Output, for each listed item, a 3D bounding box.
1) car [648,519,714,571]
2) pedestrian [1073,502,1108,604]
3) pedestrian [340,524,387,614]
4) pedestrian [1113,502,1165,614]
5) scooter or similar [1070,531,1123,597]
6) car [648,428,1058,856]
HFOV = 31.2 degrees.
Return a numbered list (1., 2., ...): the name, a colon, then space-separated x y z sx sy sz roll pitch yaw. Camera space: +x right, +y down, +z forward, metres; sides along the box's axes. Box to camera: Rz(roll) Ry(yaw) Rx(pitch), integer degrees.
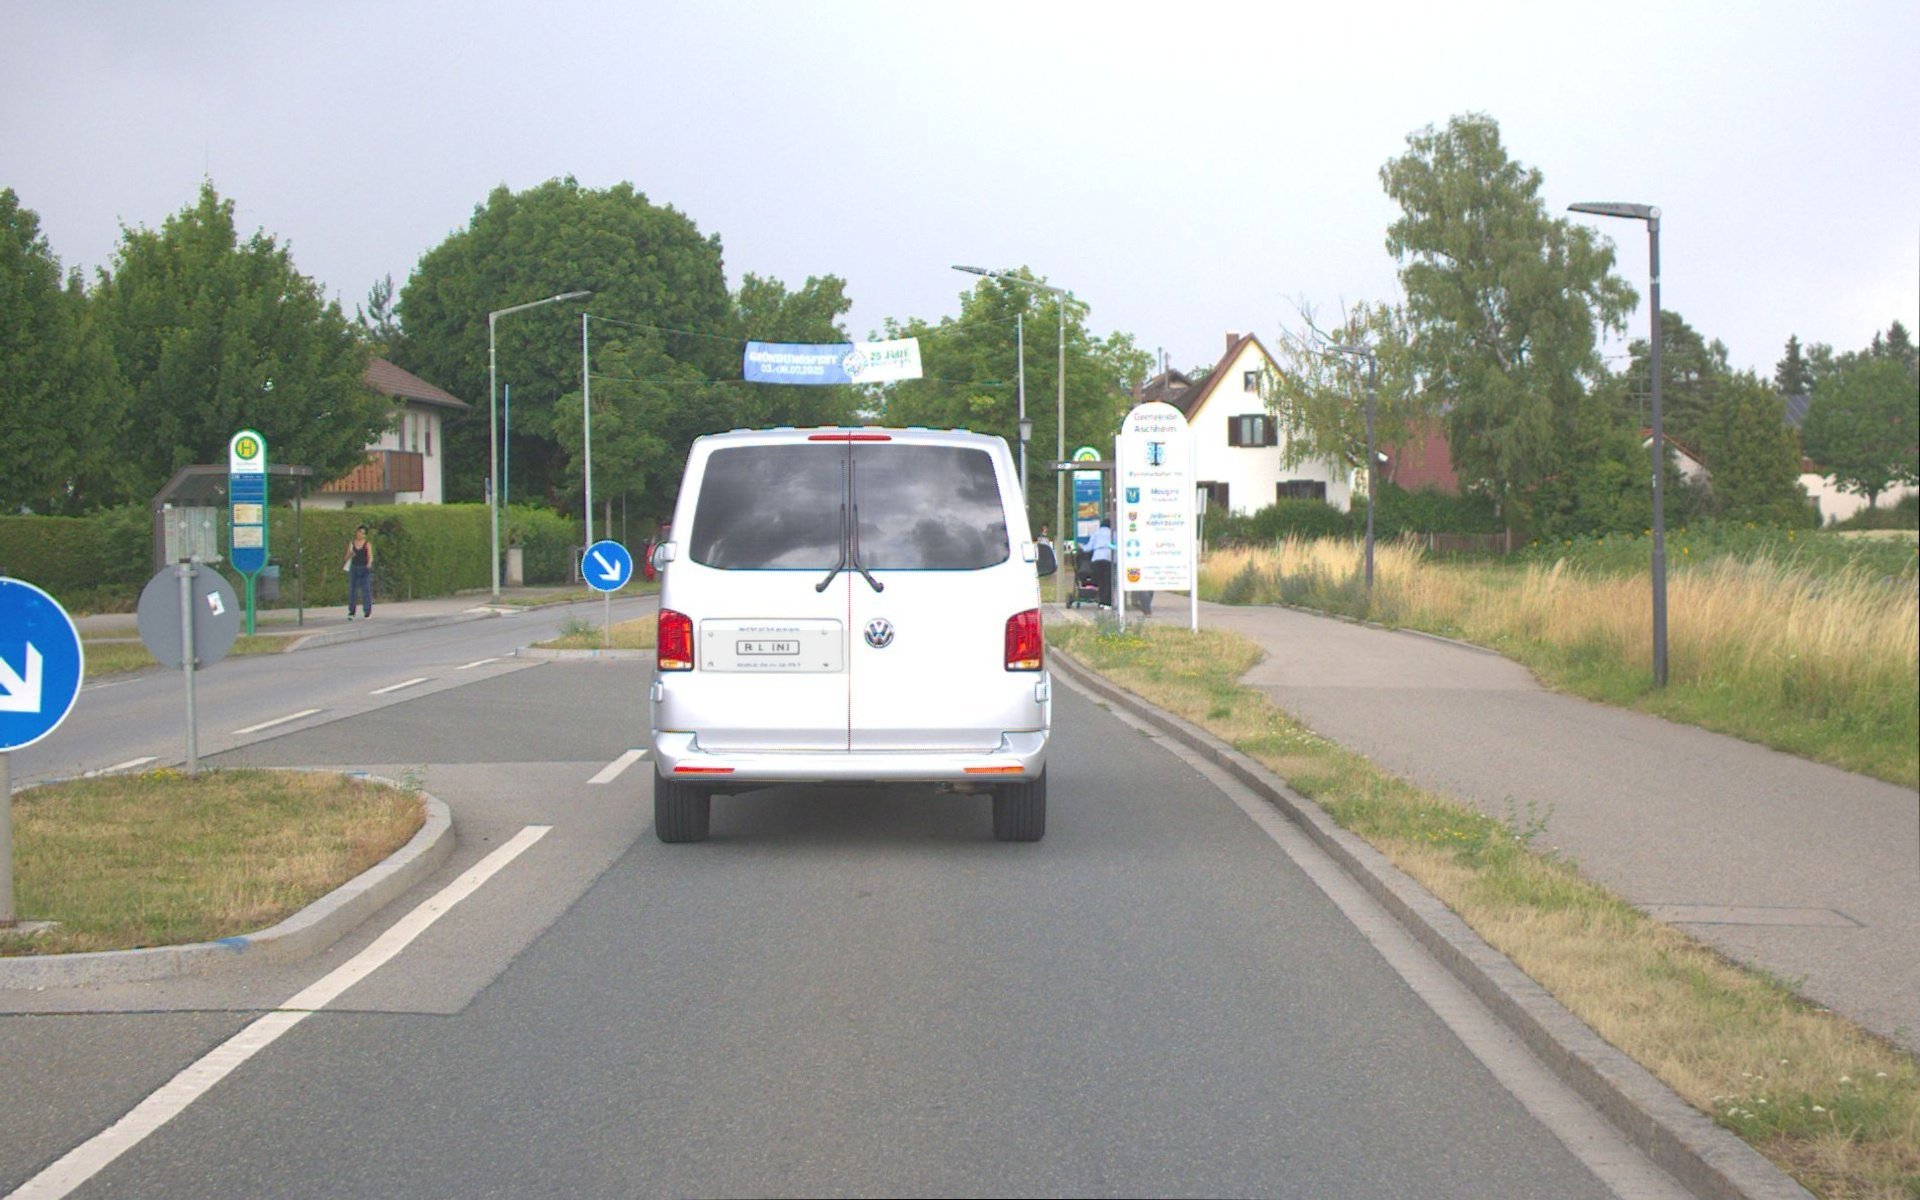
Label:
1. car: -8.181 -1.629 101.068 1.653 1.424 3.603 -2 2 -1
2. pedestrian: 2.240 -0.811 58.959 0.485 1.726 0.642 -2 1 -1
3. pedestrian: -10.317 -0.545 59.462 0.623 1.519 0.680 -2 2 -1
4. pedestrian: 2.820 -0.665 54.134 0.485 1.726 0.642 -3 2 -28
5. scooter or similar: 2.378 -0.631 59.955 0.848 1.100 1.094 -2 2 0
6. car: -0.544 0.134 17.334 1.825 1.907 4.001 0 2 -2
